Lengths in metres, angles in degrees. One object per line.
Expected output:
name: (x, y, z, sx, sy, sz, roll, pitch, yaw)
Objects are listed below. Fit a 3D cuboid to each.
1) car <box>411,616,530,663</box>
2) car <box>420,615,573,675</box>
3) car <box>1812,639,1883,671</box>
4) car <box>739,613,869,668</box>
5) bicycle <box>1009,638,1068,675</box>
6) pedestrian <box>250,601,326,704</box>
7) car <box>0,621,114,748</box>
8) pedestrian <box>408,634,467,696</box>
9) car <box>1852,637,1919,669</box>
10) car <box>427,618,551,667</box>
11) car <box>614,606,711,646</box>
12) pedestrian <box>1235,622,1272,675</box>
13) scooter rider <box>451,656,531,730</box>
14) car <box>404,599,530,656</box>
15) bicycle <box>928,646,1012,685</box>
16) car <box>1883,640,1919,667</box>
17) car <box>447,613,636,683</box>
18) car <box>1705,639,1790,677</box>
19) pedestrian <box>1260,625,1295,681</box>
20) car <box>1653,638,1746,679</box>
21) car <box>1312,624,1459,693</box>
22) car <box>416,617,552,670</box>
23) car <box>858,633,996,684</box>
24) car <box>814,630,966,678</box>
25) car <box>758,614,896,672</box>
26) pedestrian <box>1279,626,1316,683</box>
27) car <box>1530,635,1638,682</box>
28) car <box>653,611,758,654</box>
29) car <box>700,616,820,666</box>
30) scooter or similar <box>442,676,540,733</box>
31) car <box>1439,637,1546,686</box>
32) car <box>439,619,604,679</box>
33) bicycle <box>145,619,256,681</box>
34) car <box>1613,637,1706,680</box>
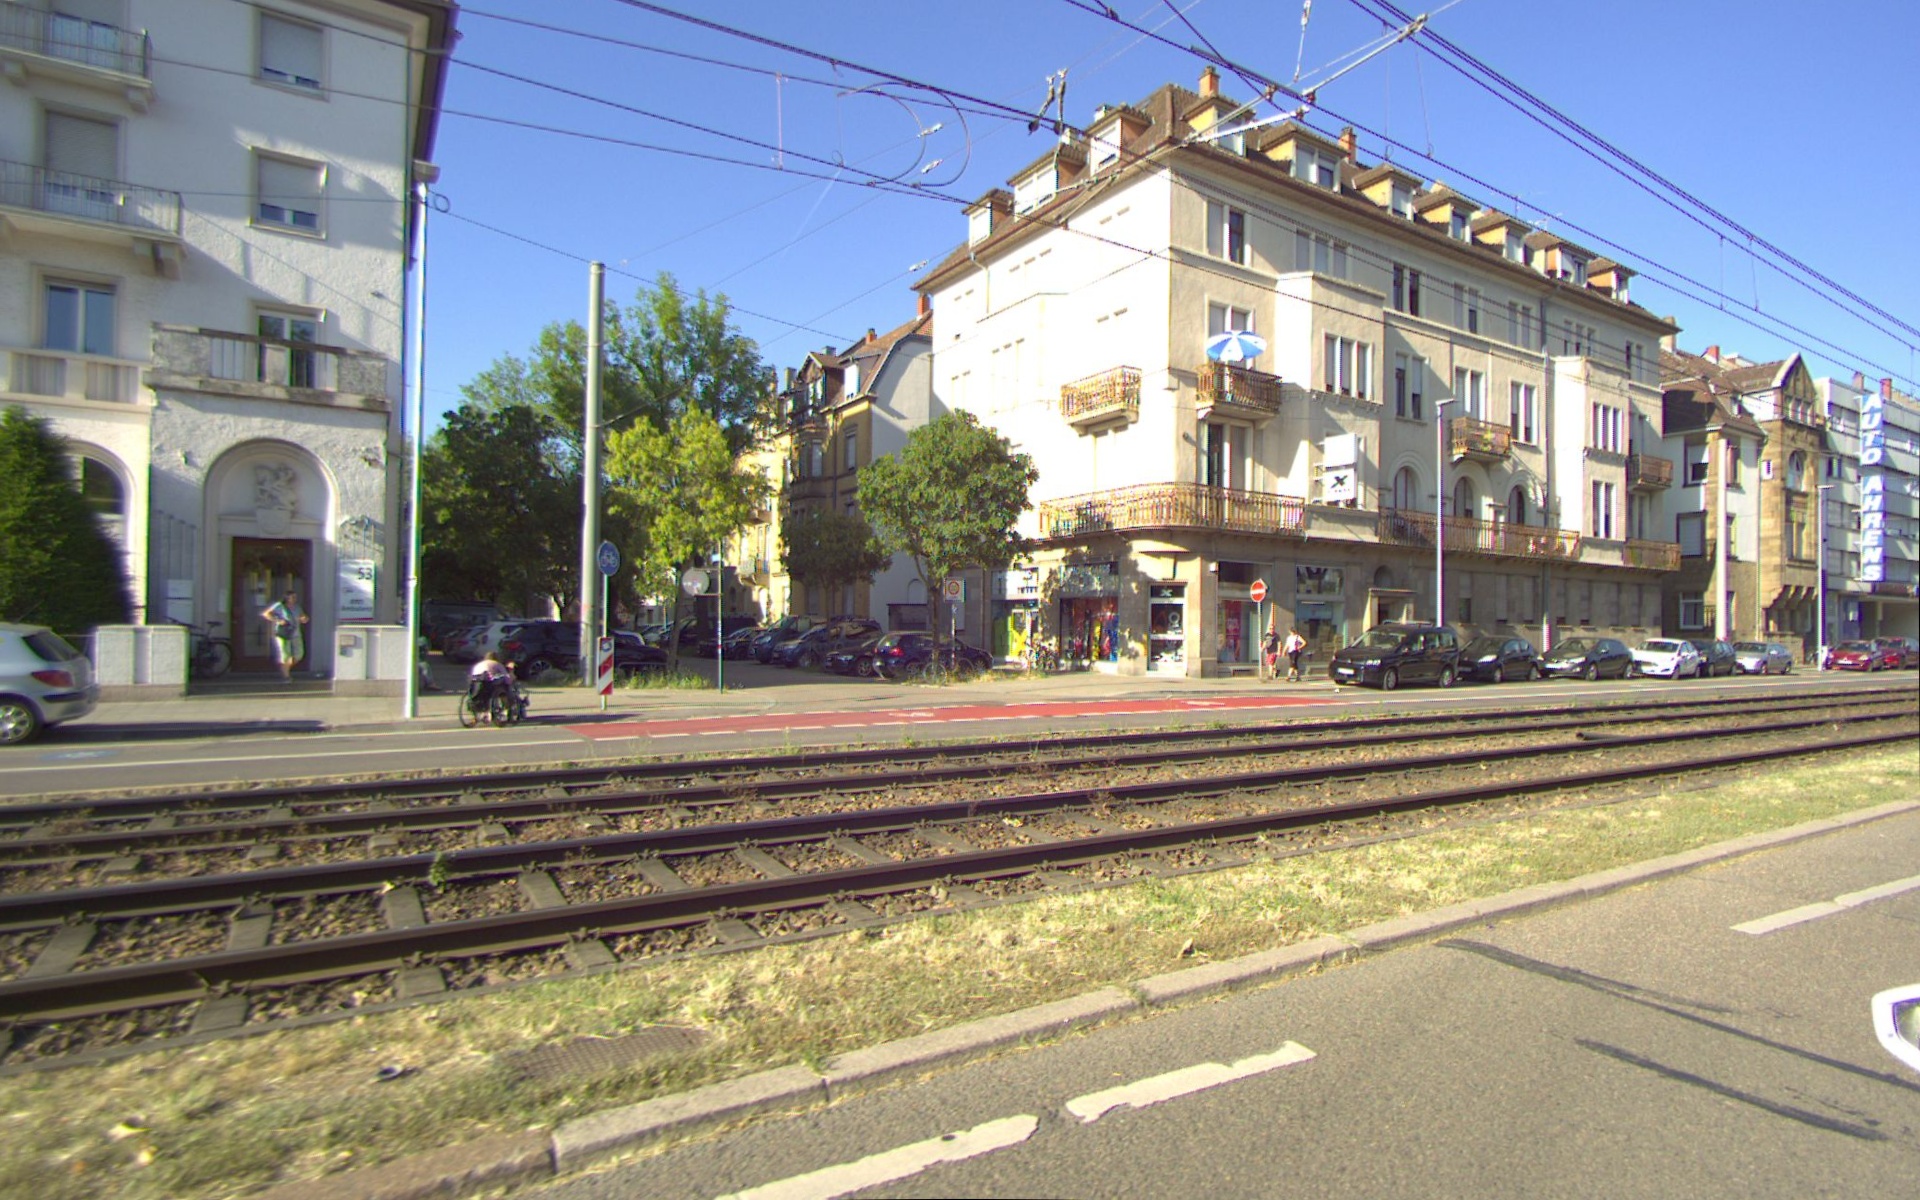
car: (-19.071, 1.560, 39.181, 3.957, 1.679, 1.784, 3, -3, -33)
car: (-13.916, 1.379, 30.221, 3.957, 1.679, 1.784, 3, -3, -33)
car: (44.003, 2.702, 49.774, 3.998, 1.410, 1.820, 2, 1, -37)
car: (-6.356, 1.689, 41.264, 4.847, 2.067, 2.046, 3, -3, -34)
bicycle: (2.660, 1.916, 34.447, 0.742, 1.176, 2.874, 1, -2, -24)
pedestrian: (-12.403, 0.947, 18.546, 0.981, 1.801, 0.930, 2, 0, 44)
car: (-13.455, 1.035, 12.669, 3.954, 1.530, 1.785, 2, 0, -31)
pedestrian: (-10.744, 1.328, 20.666, 0.888, 1.203, 0.869, 2, 0, -40)
car: (48.659, 2.754, 52.534, 4.304, 1.579, 1.824, 2, -1, -31)
car: (-17.456, 1.604, 37.283, 3.957, 1.679, 1.784, 3, -3, -33)
car: (-16.782, 1.486, 56.808, 4.847, 2.067, 2.046, 3, -3, -34)
pedestrian: (9.615, 1.590, 32.896, 0.943, 1.683, 0.636, 2, 0, -30)
scooter rider: (-7.310, 1.441, 15.701, 0.792, 1.103, 0.979, 0, -2, -1)
car: (-25.627, 1.497, 52.300, 5.544, 2.720, 2.256, 3, -3, -35)
bicycle: (0.297, 1.846, 28.572, 2.384, 1.029, 0.681, 1, 0, -30)
car: (52.956, 2.935, 55.484, 4.631, 1.409, 1.823, 2, -1, -33)
car: (-10.723, 1.258, 25.827, 4.216, 1.662, 1.784, 3, -3, -33)
car: (34.125, 2.467, 43.507, 4.112, 1.488, 1.626, 1, 0, -32)
pedestrian: (9.892, 1.647, 31.278, 0.847, 1.719, 0.586, 2, 0, -30)
car: (29.872, 2.320, 40.542, 4.114, 1.488, 1.626, 2, 1, -33)
car: (12.519, 1.649, 29.469, 4.354, 1.810, 1.851, 1, 0, -33)
car: (-16.202, 1.499, 34.229, 3.957, 1.679, 1.784, 3, -3, -33)
car: (-1.020, 1.883, 32.527, 4.206, 1.483, 1.760, 3, 0, -37)
car: (-2.386, 1.895, 34.719, 4.844, 1.530, 2.047, 3, -3, -33)
car: (-5.061, 1.675, 38.585, 4.847, 2.067, 2.046, 3, -3, -34)
pedestrian: (10.306, 1.658, 30.674, 0.847, 1.719, 0.586, 2, 0, -30)
car: (22.378, 2.070, 35.986, 4.114, 1.488, 1.625, 2, 1, -33)
car: (-13.102, 1.711, 51.869, 4.847, 2.067, 2.046, 3, -3, -34)
car: (-8.954, 1.862, 45.118, 4.847, 2.067, 2.046, 3, -3, -34)
scooter or similar: (-7.313, 1.613, 15.737, 0.792, 0.780, 1.570, 0, -2, -1)
car: (17.557, 1.992, 33.071, 3.471, 1.410, 1.617, 1, 2, -34)
car: (-12.142, 1.382, 27.877, 3.957, 1.530, 1.784, 3, -3, -33)
bicycle: (-14.259, 0.942, 18.876, 1.612, 1.102, 0.460, 2, 0, -40)
car: (26.493, 2.192, 38.009, 3.944, 1.488, 1.624, 2, -1, -35)
